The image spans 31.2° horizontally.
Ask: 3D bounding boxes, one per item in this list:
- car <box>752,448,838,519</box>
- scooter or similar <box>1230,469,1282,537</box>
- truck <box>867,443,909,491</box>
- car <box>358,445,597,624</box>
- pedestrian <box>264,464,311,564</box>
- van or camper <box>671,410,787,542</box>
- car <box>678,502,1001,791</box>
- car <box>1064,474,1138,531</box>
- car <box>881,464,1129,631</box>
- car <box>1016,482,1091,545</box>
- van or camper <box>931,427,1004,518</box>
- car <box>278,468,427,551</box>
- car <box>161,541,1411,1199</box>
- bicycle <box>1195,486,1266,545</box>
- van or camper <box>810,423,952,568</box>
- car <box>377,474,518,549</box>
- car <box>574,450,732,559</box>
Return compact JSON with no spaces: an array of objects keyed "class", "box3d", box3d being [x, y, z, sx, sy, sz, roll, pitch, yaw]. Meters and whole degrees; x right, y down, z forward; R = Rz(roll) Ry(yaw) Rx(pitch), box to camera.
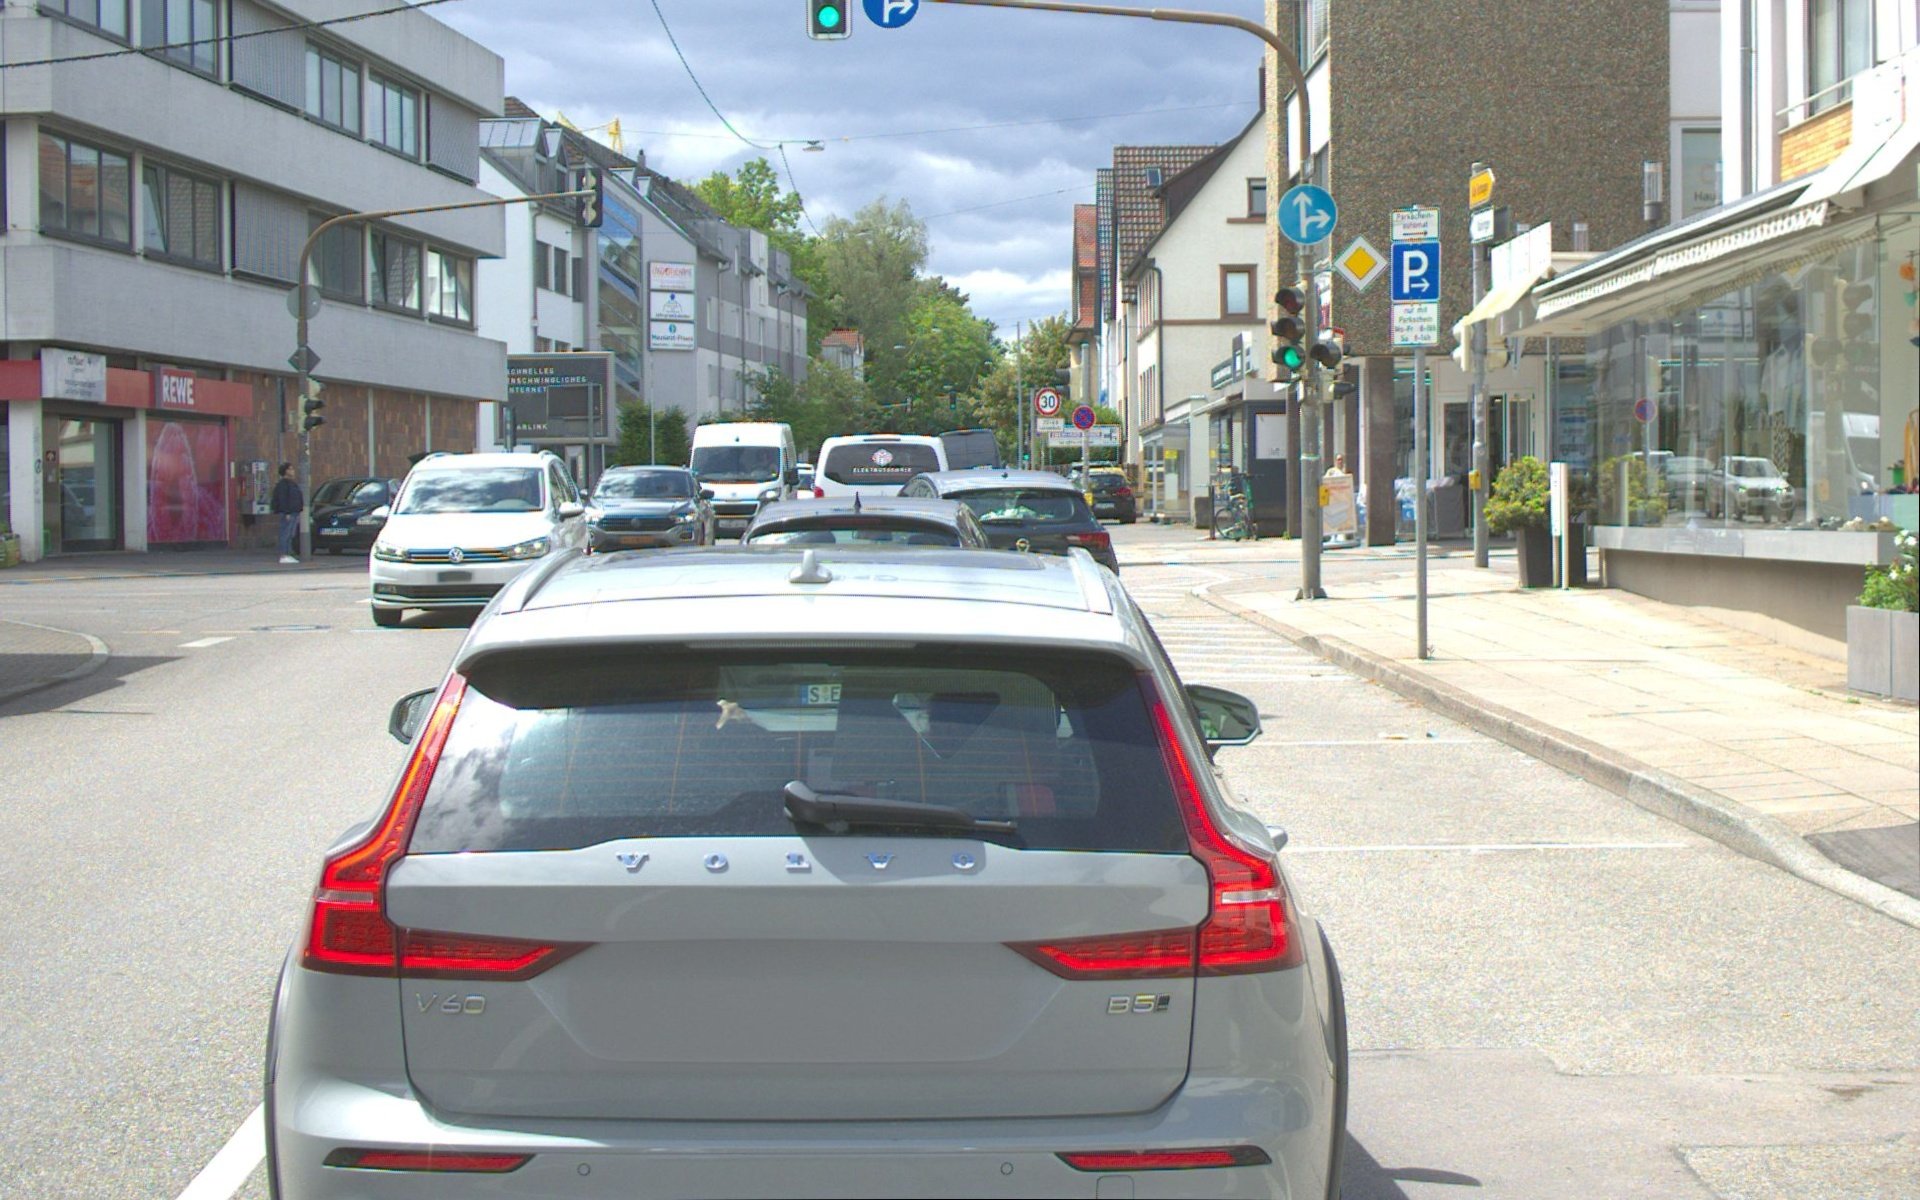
[{"class":"car","box3d":[-4.000,-2.859,83.812,1.780,1.634,4.221,-2,2,1]},{"class":"scooter or similar","box3d":[5.603,-1.828,65.202,0.340,1.249,1.246,-4,2,-26]},{"class":"truck","box3d":[-4.425,-8.248,212.774,2.276,2.876,7.080,-1,2,1]},{"class":"car","box3d":[-4.720,-0.699,34.144,1.775,1.607,4.120,-2,3,0]},{"class":"pedestrian","box3d":[-11.172,-1.434,57.135,0.619,1.635,0.660,-1,2,1]},{"class":"van or camper","box3d":[-4.676,-2.571,70.316,2.148,2.547,5.439,-1,3,-2]},{"class":"car","box3d":[-0.636,0.189,19.469,1.650,1.477,3.608,0,2,-1]},{"class":"car","box3d":[3.805,-2.632,93.256,1.710,1.459,4.000,0,1,-2]},{"class":"car","box3d":[0.325,-0.467,29.767,1.807,1.342,3.719,-1,1,-4]},{"class":"car","box3d":[1.965,-1.822,72.761,1.438,1.283,3.248,-1,1,-1]},{"class":"van or camper","box3d":[0.250,-3.898,105.143,2.123,2.677,4.781,-1,2,1]},{"class":"car","box3d":[-11.245,-1.693,63.848,1.785,1.459,4.086,1,2,4]},{"class":"car","box3d":[-0.275,0.624,7.066,1.836,1.481,4.000,0,1,-1]},{"class":"bicycle","box3d":[5.373,-1.691,68.358,0.554,1.140,2.301,-2,2,-18]},{"class":"van or camper","box3d":[-1.034,-1.359,46.225,1.819,1.828,4.000,0,0,-1]},{"class":"car","box3d":[-10.386,-1.824,69.918,1.904,1.438,4.443,1,2,4]},{"class":"car","box3d":[-4.411,-1.368,49.879,1.791,1.506,3.845,0,1,2]}]
